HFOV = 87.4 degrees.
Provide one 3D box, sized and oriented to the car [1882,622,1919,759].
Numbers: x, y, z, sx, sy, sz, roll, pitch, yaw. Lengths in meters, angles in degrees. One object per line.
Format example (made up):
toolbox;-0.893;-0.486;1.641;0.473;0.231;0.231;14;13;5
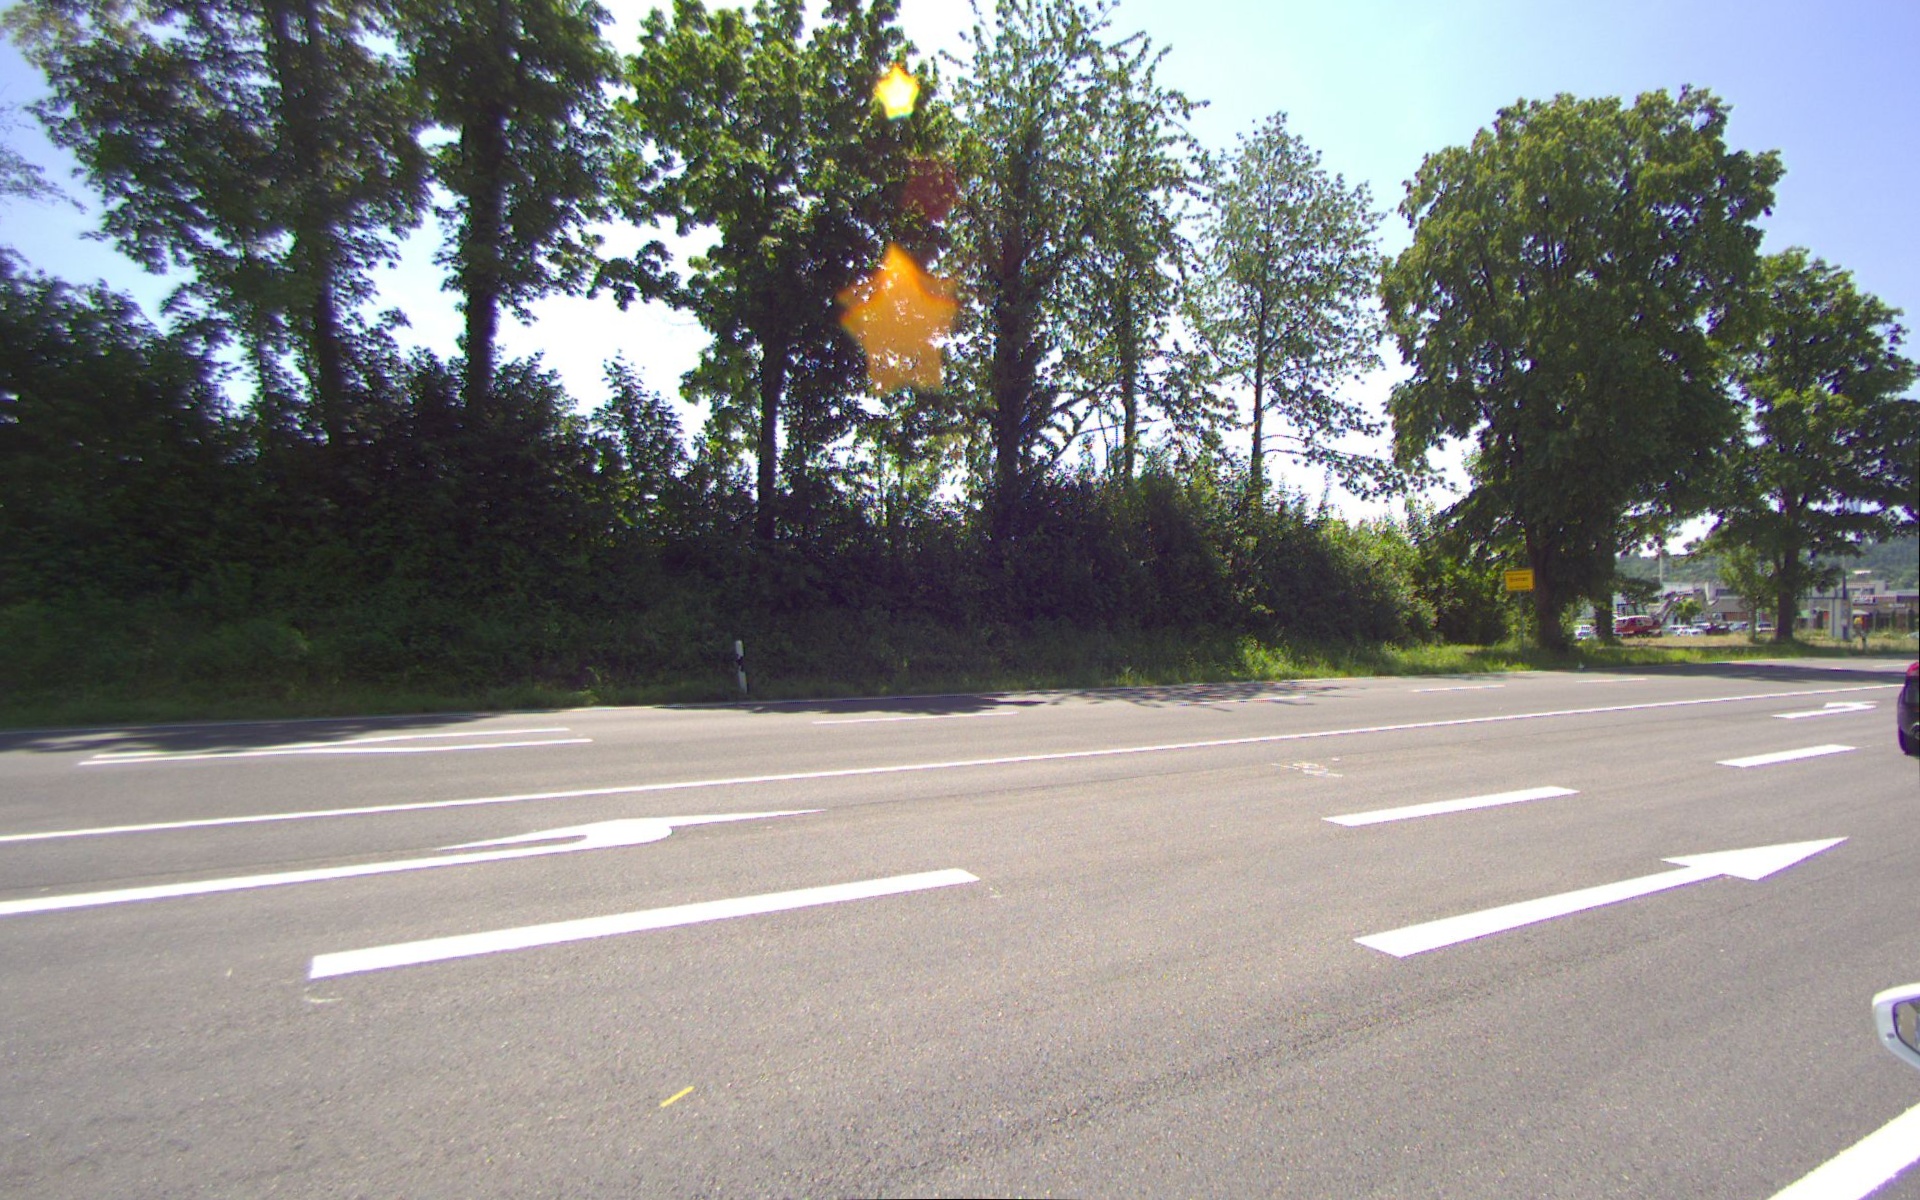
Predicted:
car;12.140;1.008;11.168;4.354;1.417;1.677;2;-1;-32

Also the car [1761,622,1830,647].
car;58.346;2.380;70.233;1.803;1.639;4.002;1;0;7

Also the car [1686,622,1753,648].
car;53.471;2.411;70.789;1.959;1.673;4.002;1;0;7

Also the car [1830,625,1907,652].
car;61.295;2.591;67.853;1.803;1.639;4.002;1;0;7

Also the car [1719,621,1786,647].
car;55.658;2.357;70.622;1.803;1.639;4.002;1;0;7

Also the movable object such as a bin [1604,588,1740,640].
movable object such as a bin;47.021;0.900;66.541;6.654;3.342;3.054;0;0;10

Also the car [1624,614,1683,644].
car;49.531;2.046;71.800;1.959;2.040;4.002;1;0;10
